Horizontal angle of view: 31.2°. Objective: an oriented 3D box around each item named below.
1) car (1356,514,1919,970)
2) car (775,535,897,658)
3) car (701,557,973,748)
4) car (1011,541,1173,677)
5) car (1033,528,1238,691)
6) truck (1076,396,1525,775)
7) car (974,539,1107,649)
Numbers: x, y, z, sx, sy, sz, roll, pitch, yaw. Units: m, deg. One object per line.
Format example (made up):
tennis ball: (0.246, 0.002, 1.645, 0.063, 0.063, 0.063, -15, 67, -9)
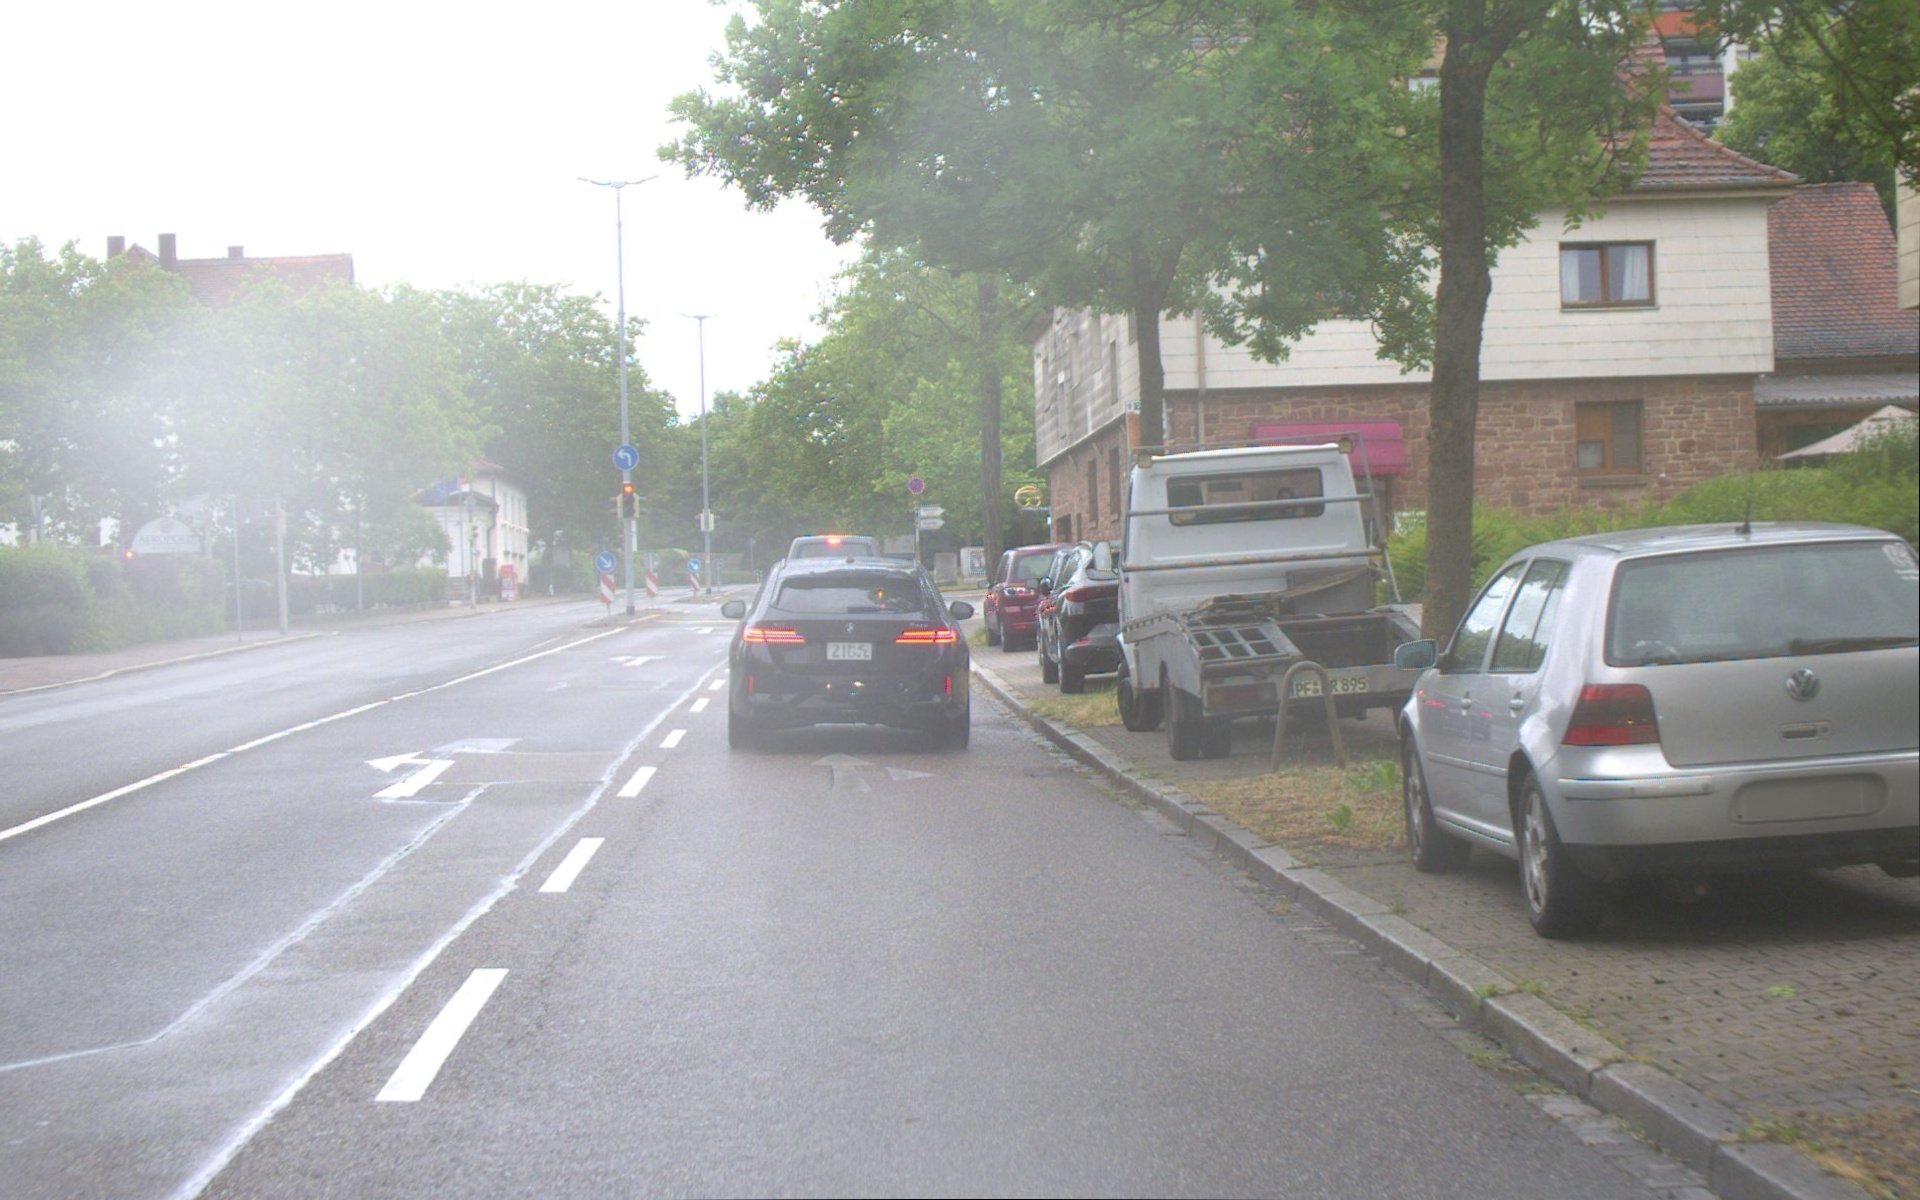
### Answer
car: (2.705, 0.437, 13.609, 1.601, 1.431, 4.022, -4, 1, -2)
car: (-1.959, -0.071, 53.400, 1.783, 1.811, 4.001, -1, 1, -3)
car: (-1.072, 0.387, 28.361, 2.064, 1.441, 4.484, 0, 0, -4)
car: (1.568, 0.079, 41.923, 1.604, 1.467, 3.856, -4, 1, -2)
car: (1.776, 0.074, 35.939, 1.714, 1.493, 4.184, -4, 1, -2)
truck: (2.230, -0.123, 24.611, 2.080, 2.214, 6.502, -4, 1, -3)
car: (1.170, -0.120, 51.440, 1.583, 1.485, 3.628, -4, 1, -3)
